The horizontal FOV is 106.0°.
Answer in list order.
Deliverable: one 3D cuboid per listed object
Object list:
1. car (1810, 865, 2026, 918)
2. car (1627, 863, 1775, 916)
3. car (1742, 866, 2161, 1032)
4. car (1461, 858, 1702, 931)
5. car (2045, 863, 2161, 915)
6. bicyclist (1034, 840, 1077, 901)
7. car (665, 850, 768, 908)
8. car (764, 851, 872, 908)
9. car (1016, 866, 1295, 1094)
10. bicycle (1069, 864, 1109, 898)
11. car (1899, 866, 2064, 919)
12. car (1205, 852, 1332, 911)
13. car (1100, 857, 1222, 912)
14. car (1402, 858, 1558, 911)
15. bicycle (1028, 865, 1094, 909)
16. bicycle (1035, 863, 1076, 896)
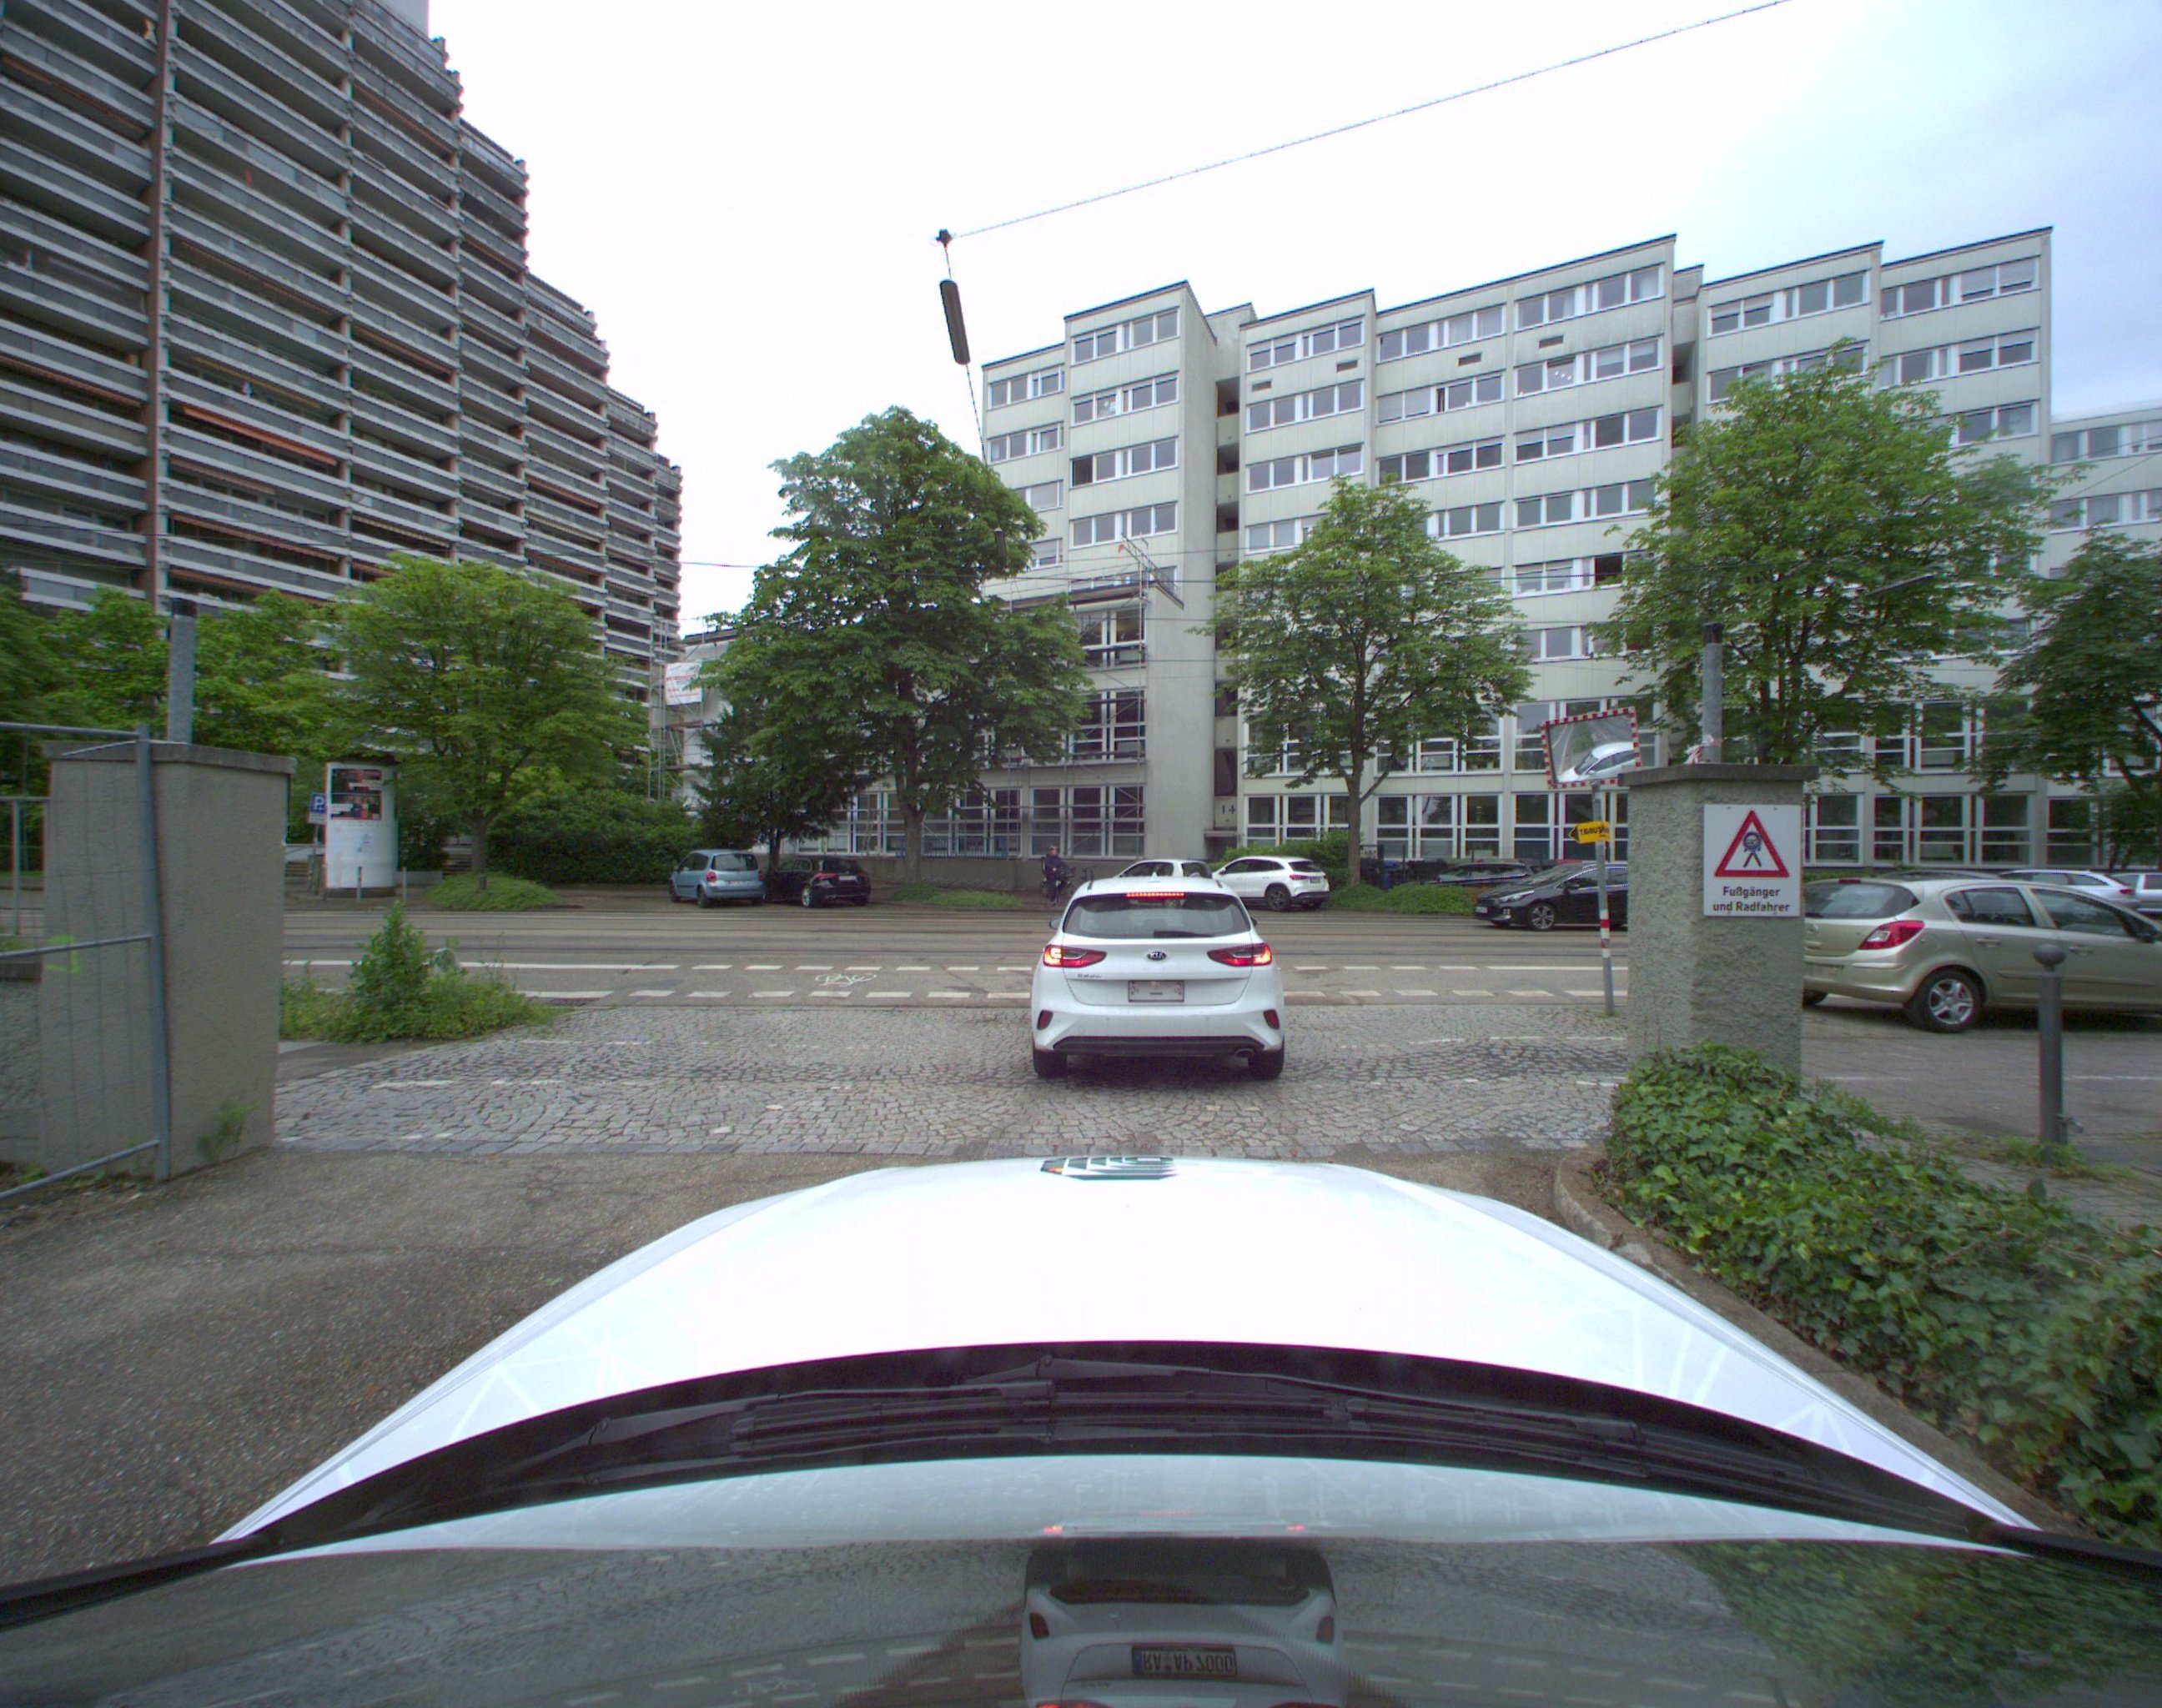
[{"bbox_3d":[25.143,1.108,24.728,4.441,1.474,1.425,-1,-3,42],"label":"car"},{"bbox_3d":[18.589,1.023,24.493,1.425,1.474,3.348,0,-1,-44],"label":"car"},{"bbox_3d":[9.286,0.905,8.435,3.570,1.500,1.665,0,0,0],"label":"car"},{"bbox_3d":[10.877,0.854,17.901,4.228,1.490,1.823,0,0,-1],"label":"car"},{"bbox_3d":[31.656,1.037,24.490,1.425,1.473,3.348,0,0,-44],"label":"car"},{"bbox_3d":[-0.737,0.463,23.442,0.839,1.698,0.886,1,0,-43],"label":"bicyclist"},{"bbox_3d":[-10.449,0.668,23.265,1.628,1.537,3.296,0,0,-45],"label":"car"},{"bbox_3d":[-7.540,0.677,23.244,1.628,1.511,3.296,0,-1,-45],"label":"car"},{"bbox_3d":[0.644,0.883,7.204,1.767,1.433,3.983,-1,-2,5],"label":"car"},{"bbox_3d":[0.311,0.949,29.681,0.638,1.074,2.325,0,2,22],"label":"bicycle"},{"bbox_3d":[27.640,1.145,25.159,1.425,1.473,3.348,0,0,-44],"label":"car"},{"bbox_3d":[5.491,0.773,24.059,1.565,1.618,3.367,0,-1,-42],"label":"car"},{"bbox_3d":[2.260,0.844,23.693,1.565,1.473,3.367,0,-1,-42],"label":"car"},{"bbox_3d":[11.969,0.862,24.548,3.904,1.474,1.684,-1,-1,42],"label":"car"},{"bbox_3d":[-0.586,0.912,23.275,0.826,1.174,1.892,1,0,-43],"label":"bicycle"},{"bbox_3d":[-0.912,0.917,30.199,0.638,1.074,2.325,0,2,22],"label":"bicycle"}]
